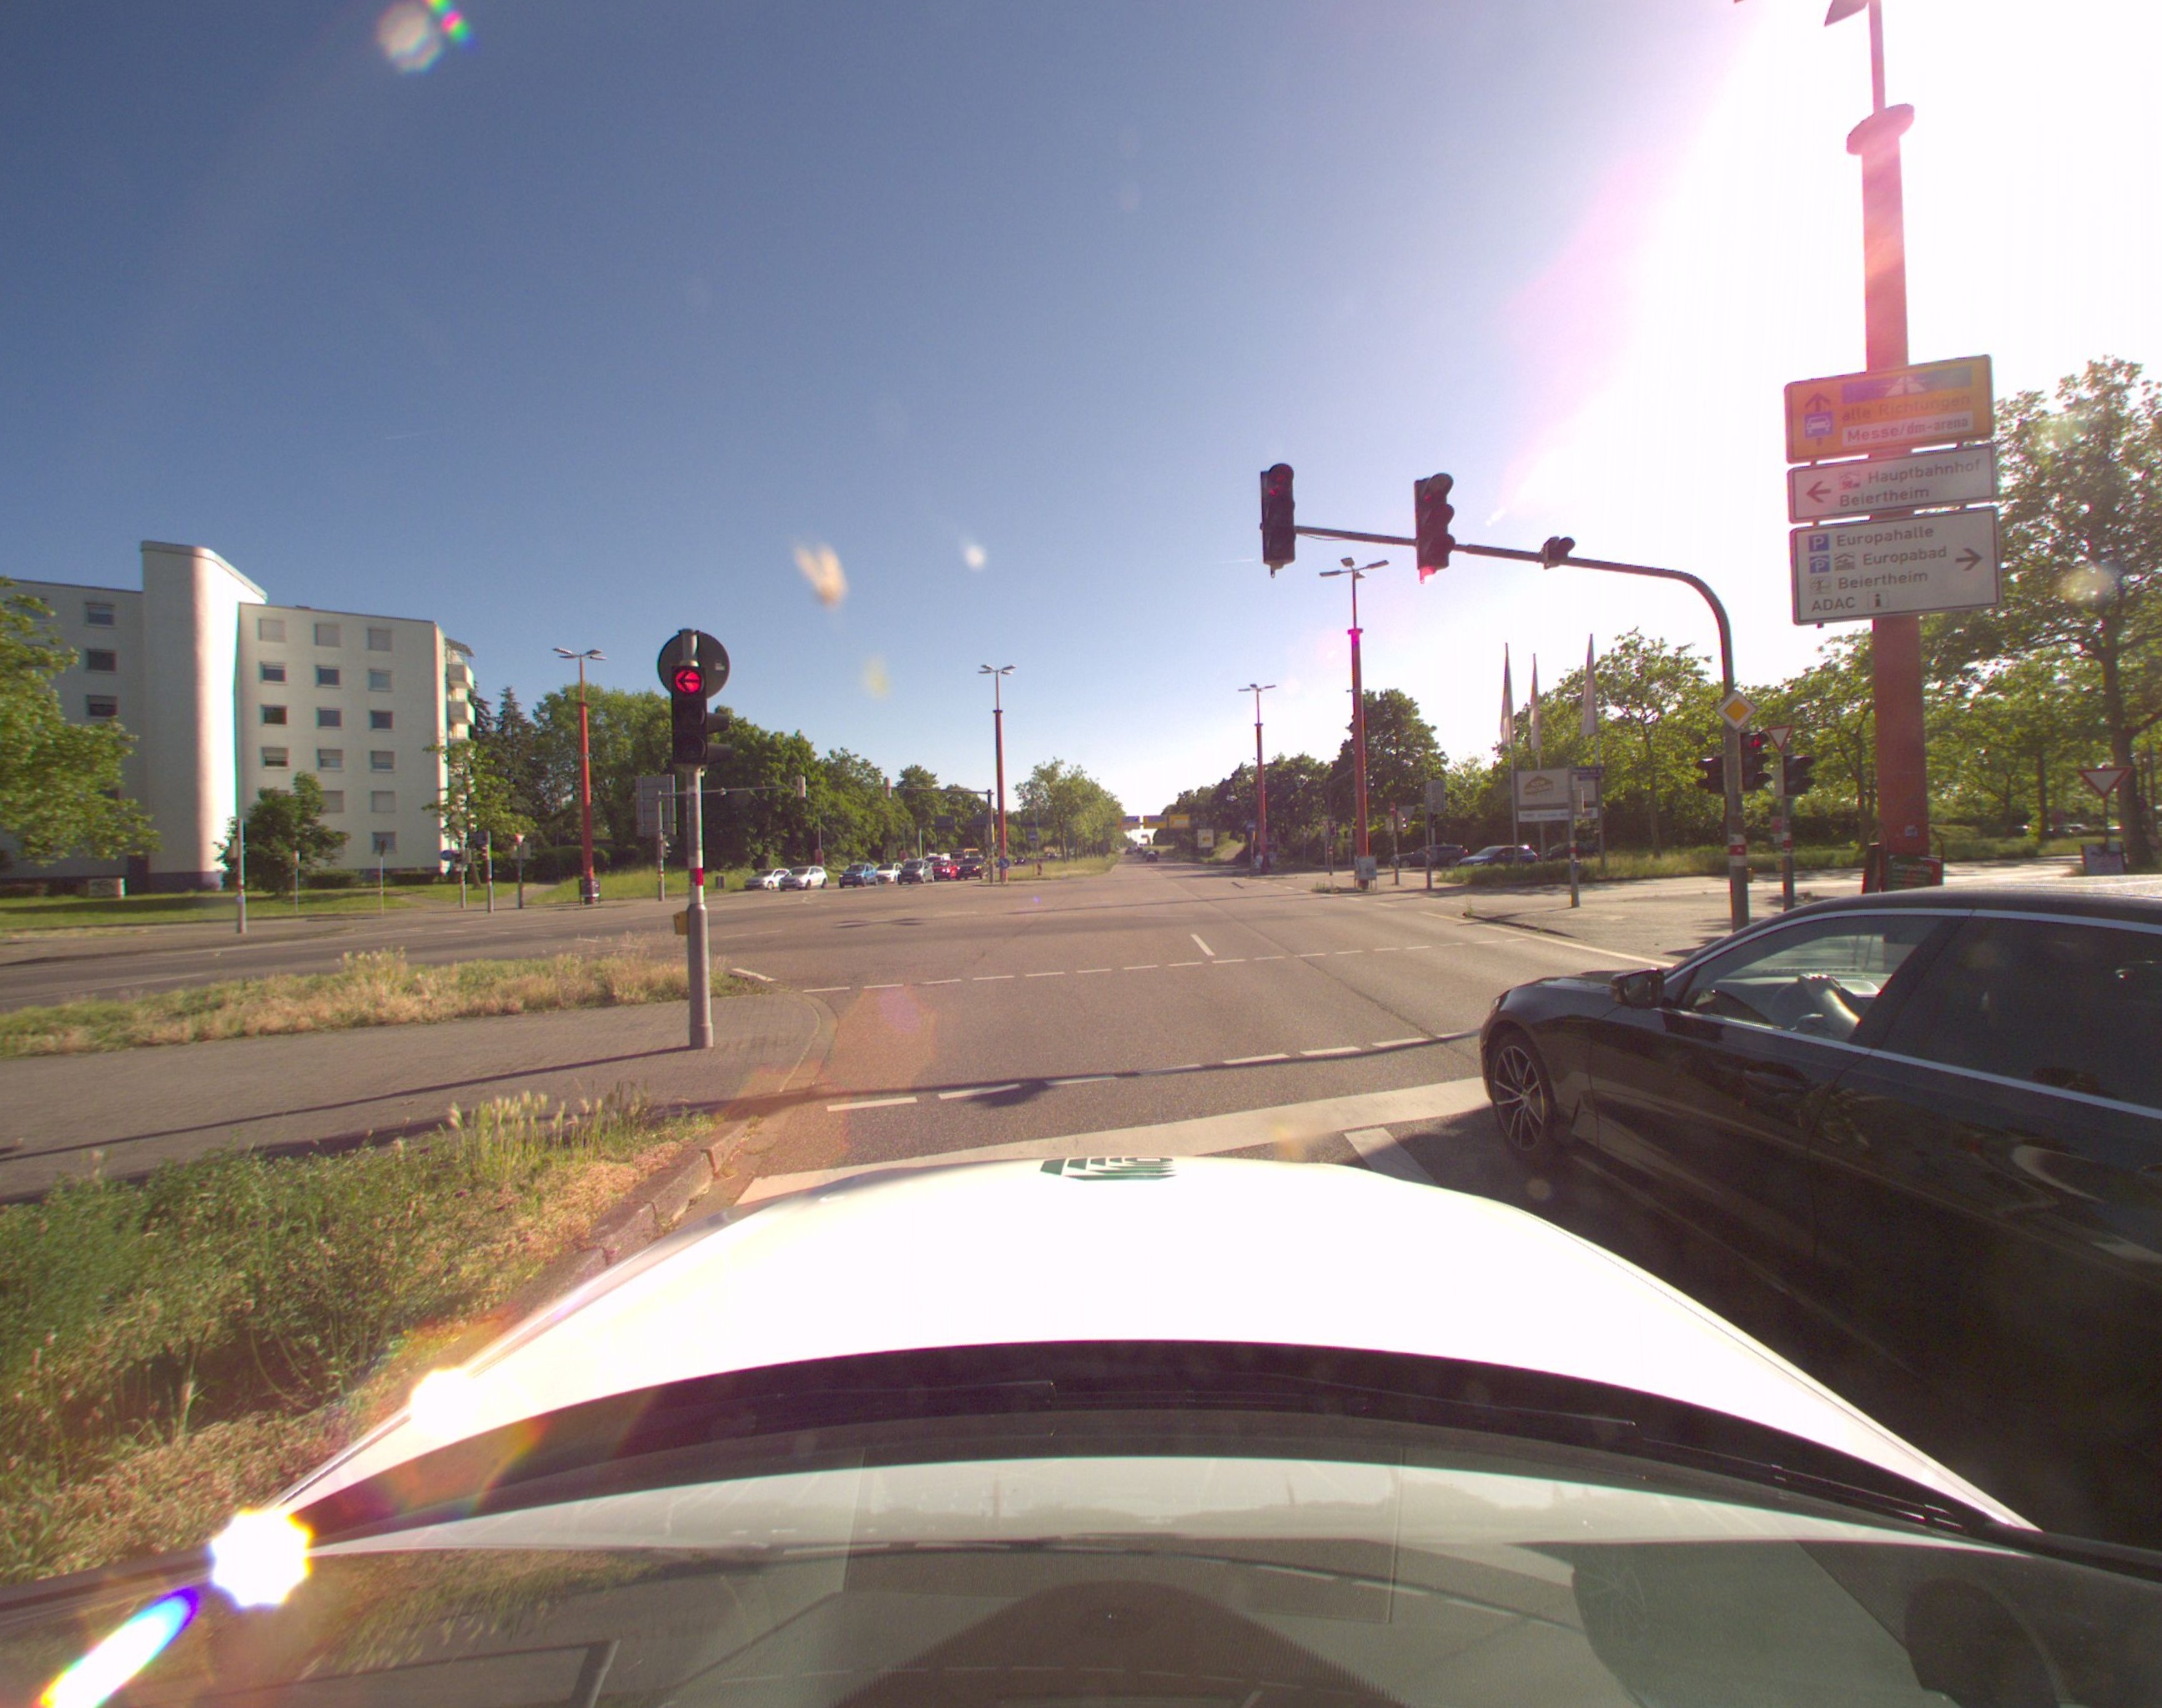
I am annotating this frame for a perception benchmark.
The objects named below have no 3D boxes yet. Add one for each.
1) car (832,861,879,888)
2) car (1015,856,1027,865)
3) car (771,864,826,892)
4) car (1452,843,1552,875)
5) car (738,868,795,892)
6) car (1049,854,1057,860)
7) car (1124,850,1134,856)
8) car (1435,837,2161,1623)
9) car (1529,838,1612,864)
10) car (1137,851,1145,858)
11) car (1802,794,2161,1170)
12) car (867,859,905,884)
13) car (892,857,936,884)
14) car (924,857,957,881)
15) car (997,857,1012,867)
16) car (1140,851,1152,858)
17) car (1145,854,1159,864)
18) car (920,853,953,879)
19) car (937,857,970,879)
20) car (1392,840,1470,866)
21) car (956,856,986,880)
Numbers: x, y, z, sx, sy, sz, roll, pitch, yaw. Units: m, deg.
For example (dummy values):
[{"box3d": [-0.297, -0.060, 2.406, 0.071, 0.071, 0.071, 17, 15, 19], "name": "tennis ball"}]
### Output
[{"box3d": [-14.231, 1.284, 51.641, 1.989, 1.573, 4.116, -2, 0, -3], "name": "car"}, {"box3d": [-10.925, 1.194, 148.499, 1.987, 1.573, 4.120, -2, 0, 0], "name": "car"}, {"box3d": [-17.672, 1.466, 51.182, 1.987, 1.573, 4.120, -2, 0, 0], "name": "car"}, {"box3d": [20.780, 0.234, 40.265, 4.276, 1.428, 1.874, -2, 0, -16], "name": "car"}, {"box3d": [-22.198, 1.814, 57.603, 1.782, 1.452, 4.234, -2, 0, 10], "name": "car"}, {"box3d": [-7.322, 0.694, 213.748, 1.872, 1.573, 3.943, -2, 0, -2], "name": "car"}, {"box3d": [12.816, -0.274, 218.195, 2.241, 1.573, 4.276, -2, 0, -3], "name": "car"}, {"box3d": [2.957, 0.665, 2.373, 1.986, 1.394, 4.479, -2, 0, 2], "name": "car"}, {"box3d": [32.422, -0.195, 54.015, 4.255, 1.573, 2.165, -2, 0, -2], "name": "car"}, {"box3d": [17.262, 0.238, 233.554, 1.986, 2.013, 4.002, -2, 0, 2], "name": "car"}, {"box3d": [5.804, 0.560, 3.262, 1.959, 1.686, 4.479, -1, 0, 2], "name": "car"}, {"box3d": [-13.733, 1.216, 57.524, 1.991, 1.573, 4.112, -3, 0, -6], "name": "car"}, {"box3d": [-10.727, 1.046, 52.581, 1.988, 1.573, 4.119, -2, 0, -1], "name": "car"}, {"box3d": [-10.098, 1.046, 58.872, 1.991, 1.573, 4.112, -2, 0, -6], "name": "car"}, {"box3d": [-12.204, 1.254, 129.832, 1.877, 1.454, 3.658, -2, 0, 2], "name": "car"}, {"box3d": [14.146, 0.149, 178.602, 2.153, 1.573, 4.277, -2, 0, -2], "name": "car"}, {"box3d": [11.657, 0.746, 134.648, 2.149, 1.573, 4.285, -2, 0, 4], "name": "car"}, {"box3d": [-12.729, 1.053, 71.987, 2.055, 2.193, 4.377, -2, 0, 0], "name": "car"}, {"box3d": [-10.060, 1.093, 64.654, 1.988, 1.573, 4.118, -2, 0, -1], "name": "car"}, {"box3d": [23.639, -0.039, 55.168, 4.534, 1.573, 2.174, -2, 0, 14], "name": "car"}, {"box3d": [-7.561, 0.939, 56.490, 1.874, 1.573, 4.112, -2, 0, -6], "name": "car"}]
